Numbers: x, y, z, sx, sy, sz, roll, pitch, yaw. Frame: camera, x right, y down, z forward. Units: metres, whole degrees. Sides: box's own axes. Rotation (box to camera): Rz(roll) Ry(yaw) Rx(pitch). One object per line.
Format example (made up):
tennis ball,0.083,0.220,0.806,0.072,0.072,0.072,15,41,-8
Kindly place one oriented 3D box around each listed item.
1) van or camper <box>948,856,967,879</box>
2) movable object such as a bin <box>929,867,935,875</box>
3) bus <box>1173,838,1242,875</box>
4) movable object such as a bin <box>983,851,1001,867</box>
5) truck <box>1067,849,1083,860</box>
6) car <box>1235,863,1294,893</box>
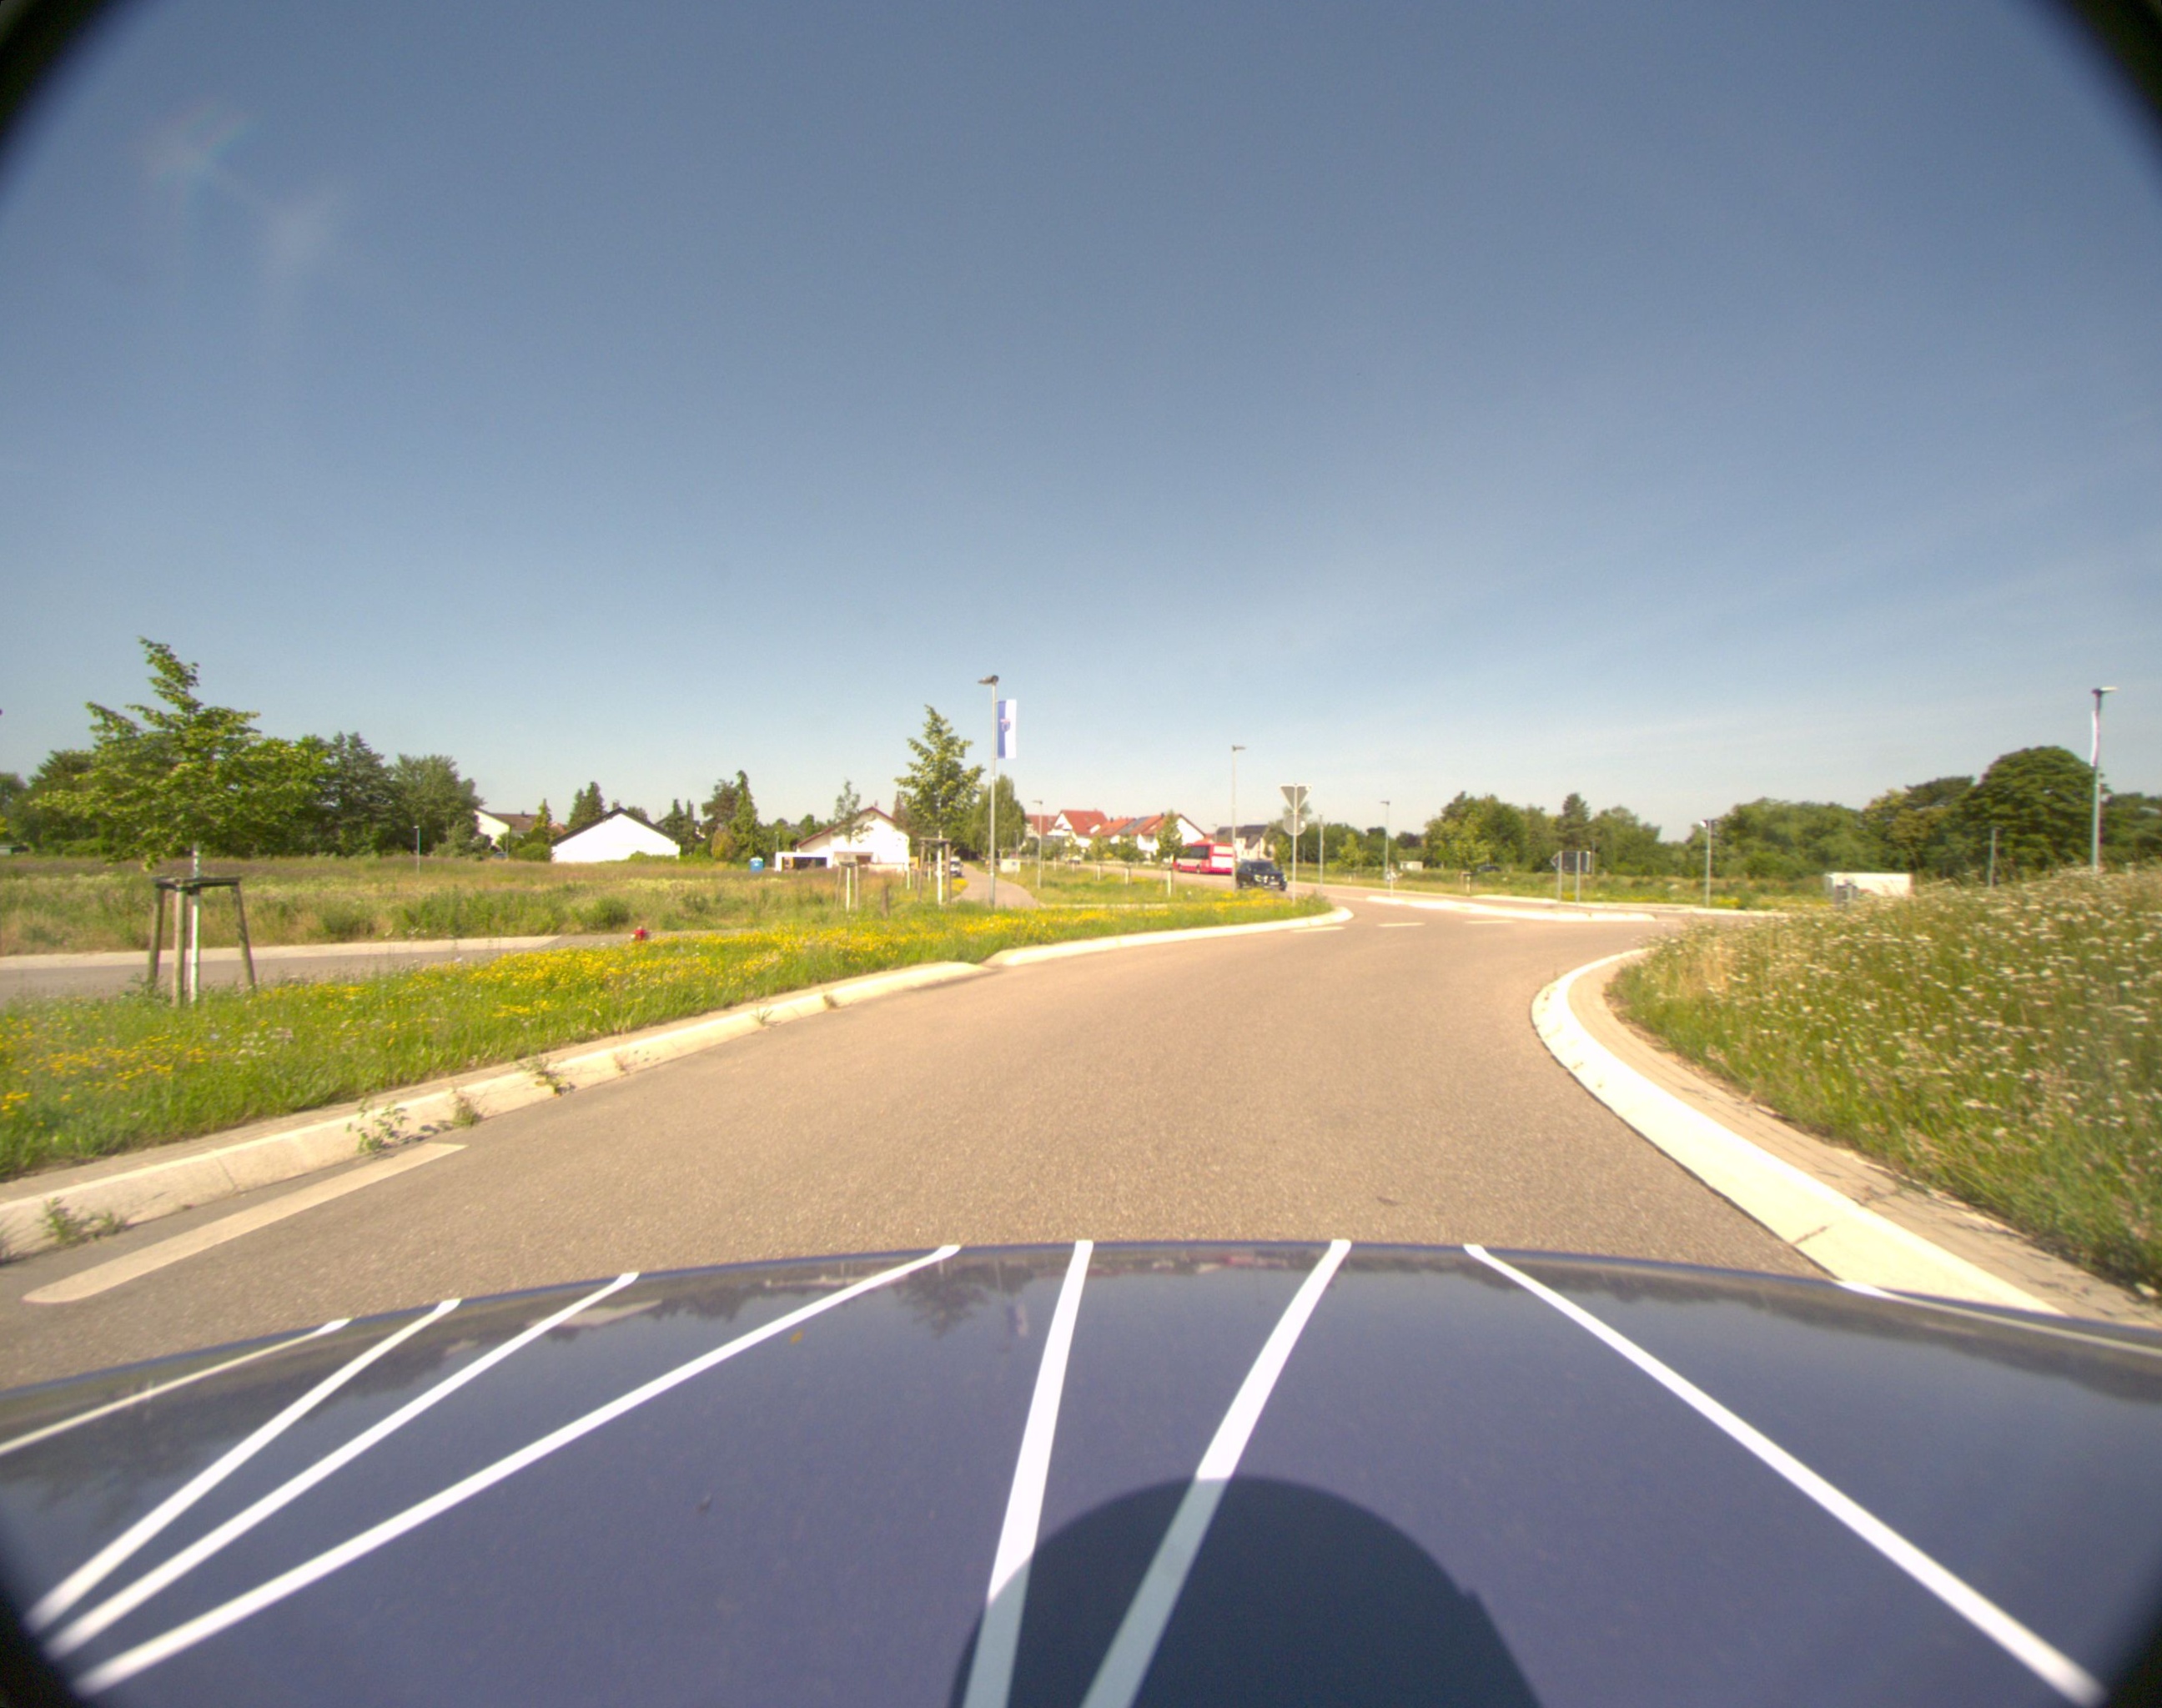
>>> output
van or camper,-15.294,1.623,93.873,2.179,2.586,6.024,0,1,-11
movable object such as a bin,-17.740,2.023,90.438,0.694,0.932,0.638,0,1,-5
bus,12.432,0.210,76.358,2.804,3.267,12.218,3,0,-10
movable object such as a bin,-13.863,0.783,117.731,2.324,2.448,6.940,-1,-1,-10
truck,-1.054,0.097,132.259,1.958,1.973,5.638,-1,0,-10
car,10.278,1.308,42.963,1.934,1.552,3.997,1,0,-7
